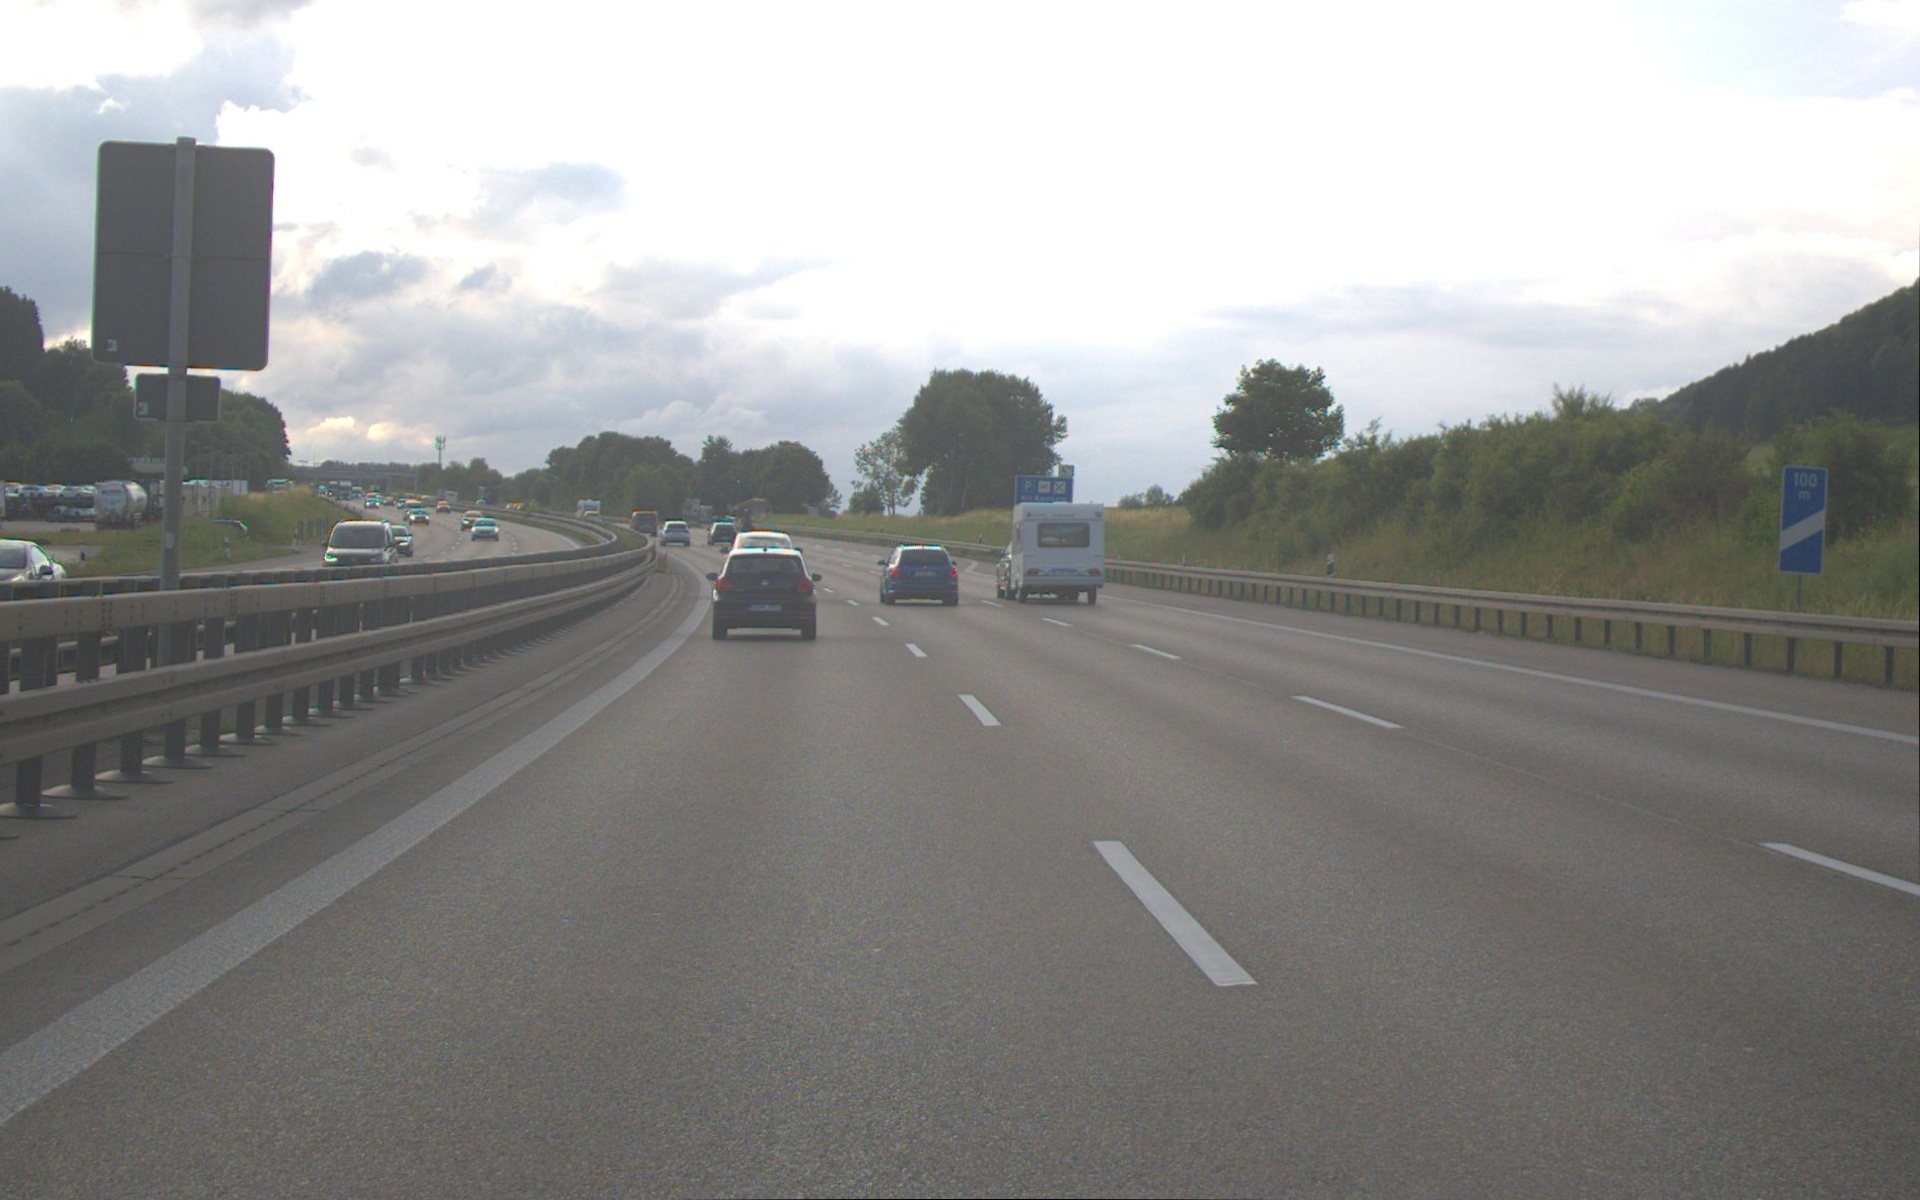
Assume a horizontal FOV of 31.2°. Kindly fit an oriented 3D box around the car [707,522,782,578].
[{"bbox_3d":[-5.393,-1.258,85.627,1.565,1.375,4.001,0,1,-8],"label":"car"}]

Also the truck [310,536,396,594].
[{"bbox_3d":[-17.274,-1.013,98.036,1.993,1.589,4.847,-1,1,-5],"label":"truck"}]

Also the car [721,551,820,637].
[{"bbox_3d":[-3.068,-0.107,55.770,1.538,1.343,3.677,1,0,-3],"label":"car"}]

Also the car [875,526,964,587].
[{"bbox_3d":[-0.999,-1.073,83.502,1.766,1.428,4.001,-1,1,-6],"label":"car"}]

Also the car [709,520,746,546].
[{"bbox_3d":[-15.148,-4.376,224.226,1.957,1.568,4.000,1,0,2],"label":"car"}]

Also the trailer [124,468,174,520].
[{"bbox_3d":[-60.714,-7.885,257.611,2.876,3.683,13.681,0,1,-10],"label":"trailer"}]

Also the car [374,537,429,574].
[{"bbox_3d":[-27.036,-2.157,166.515,1.993,1.481,3.999,-2,-3,0],"label":"car"}]

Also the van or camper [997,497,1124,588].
[{"bbox_3d":[2.504,-1.440,87.349,2.547,2.232,5.330,1,0,-5],"label":"van or camper"}]

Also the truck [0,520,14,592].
[{"bbox_3d":[-18.932,-0.801,63.515,1.993,1.349,3.947,-1,1,-3],"label":"truck"}]

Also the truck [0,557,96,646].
[{"bbox_3d":[-14.088,0.008,50.529,1.993,1.218,4.001,-1,1,-4],"label":"truck"}]

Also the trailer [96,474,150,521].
[{"bbox_3d":[-56.831,-6.926,233.557,2.578,2.843,12.266,1,0,-9],"label":"trailer"}]
